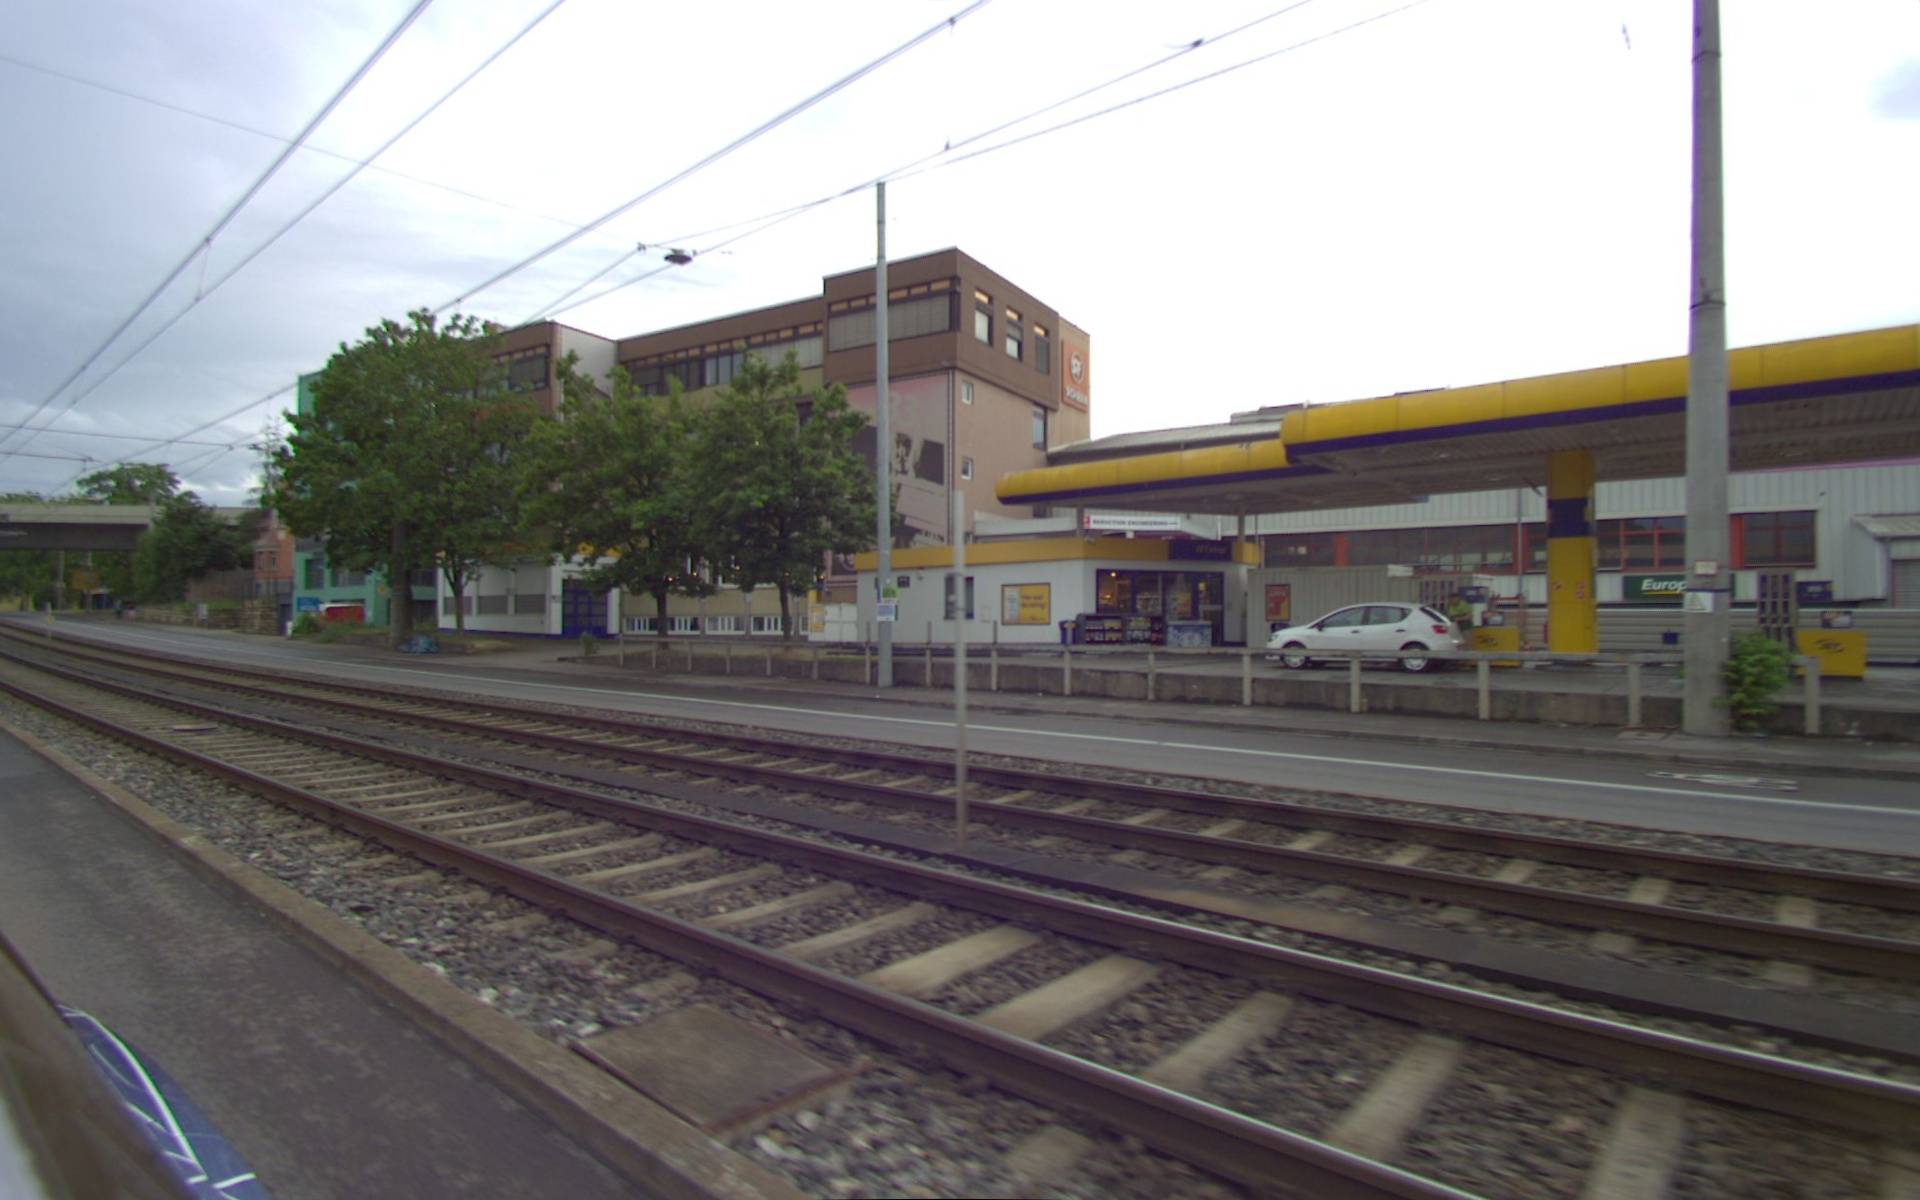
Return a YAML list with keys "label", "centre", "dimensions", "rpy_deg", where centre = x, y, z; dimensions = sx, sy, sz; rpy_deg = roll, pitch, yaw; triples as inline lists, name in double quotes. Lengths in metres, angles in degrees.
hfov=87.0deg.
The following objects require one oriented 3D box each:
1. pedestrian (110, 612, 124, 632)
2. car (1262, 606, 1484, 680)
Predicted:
- label: "pedestrian"
  centre: [-70.434, 1.808, 84.536]
  dimensions: [1.021, 1.657, 0.737]
  rpy_deg: [-1, -2, 42]
- label: "car"
  centre: [8.742, 0.867, 21.598]
  dimensions: [4.070, 1.426, 1.753]
  rpy_deg: [-1, 0, 38]
